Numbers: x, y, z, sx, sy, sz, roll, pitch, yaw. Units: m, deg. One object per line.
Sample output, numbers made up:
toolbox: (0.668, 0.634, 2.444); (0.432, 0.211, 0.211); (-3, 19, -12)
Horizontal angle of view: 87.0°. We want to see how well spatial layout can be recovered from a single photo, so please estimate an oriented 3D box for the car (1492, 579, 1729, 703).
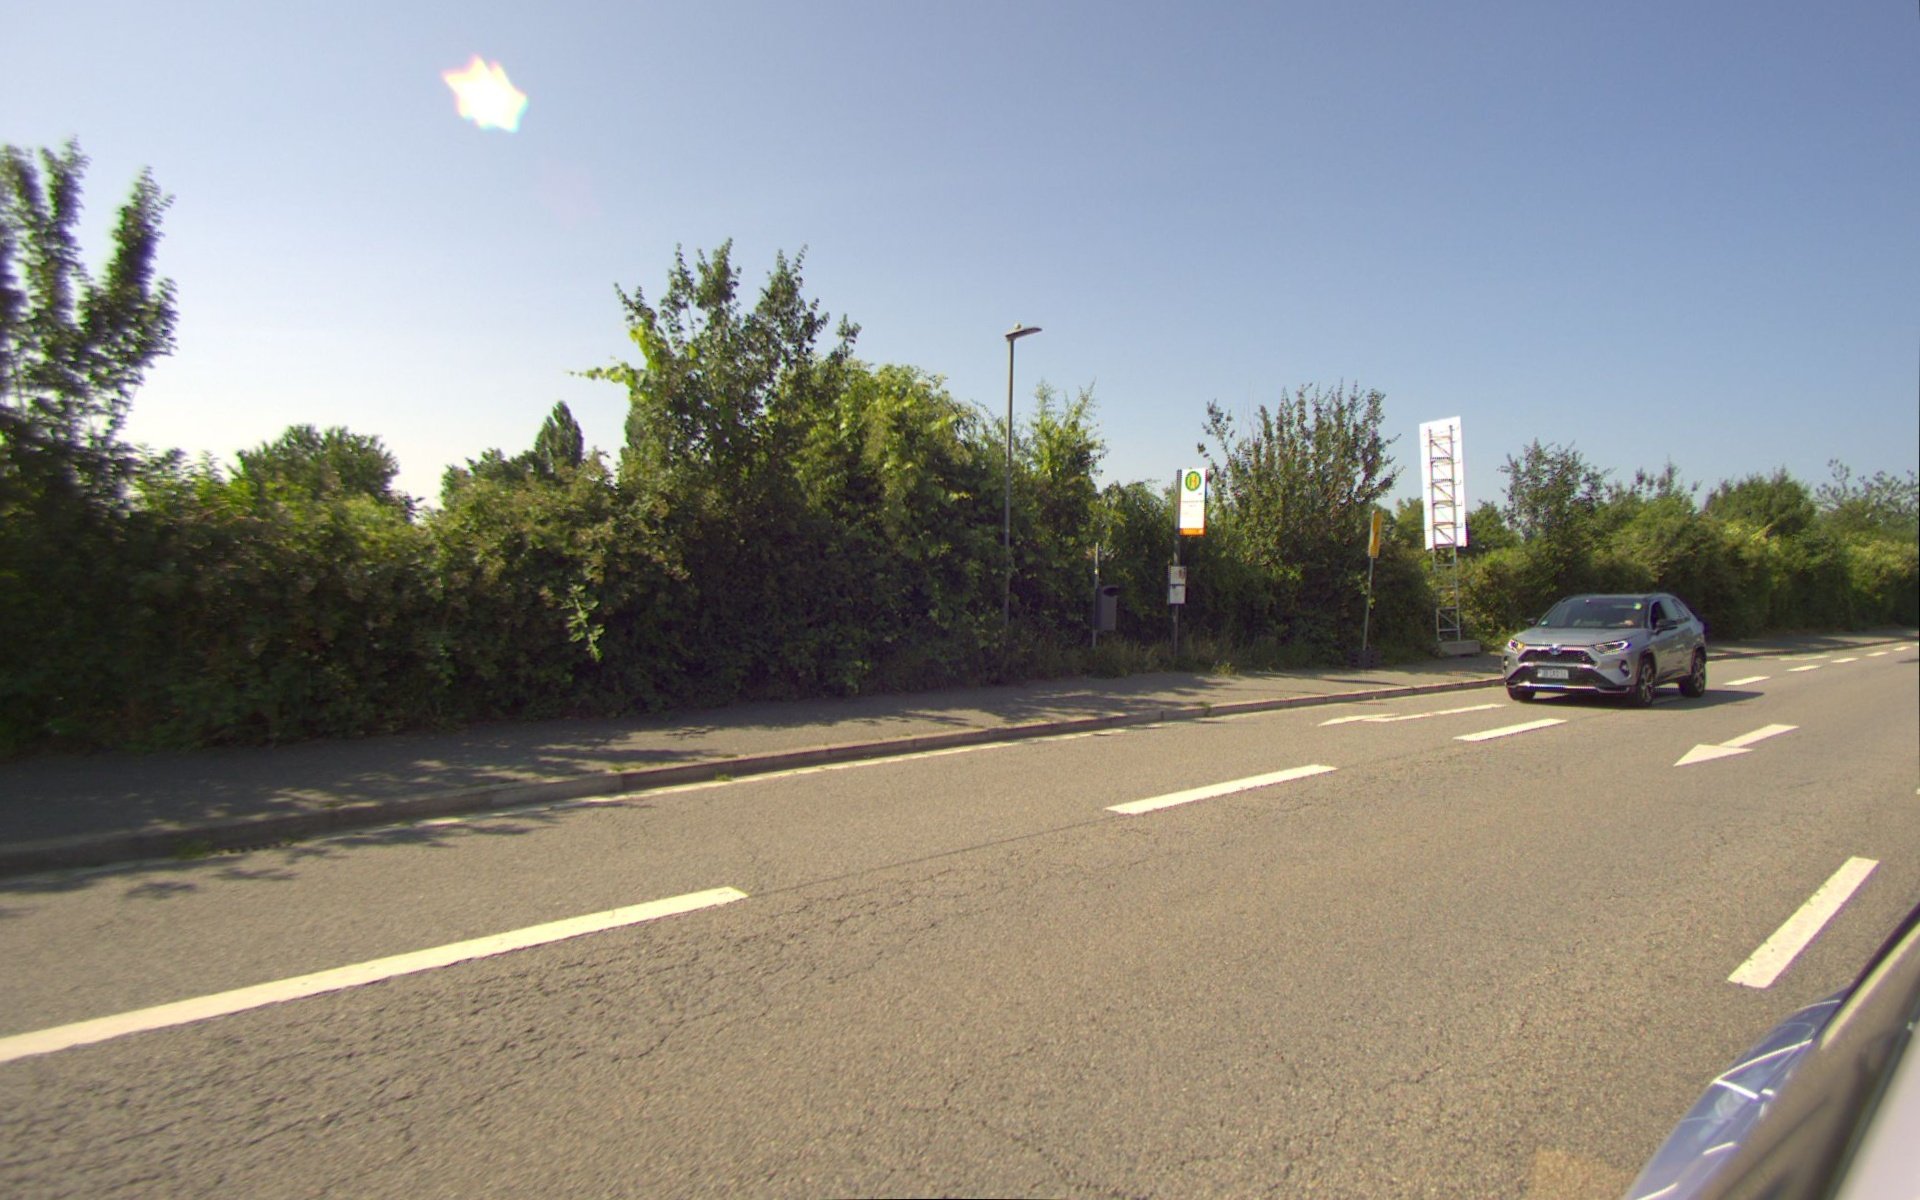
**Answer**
car: (10.439, 0.601, 16.102); (4.600, 1.702, 1.905); (1, -2, -41)
